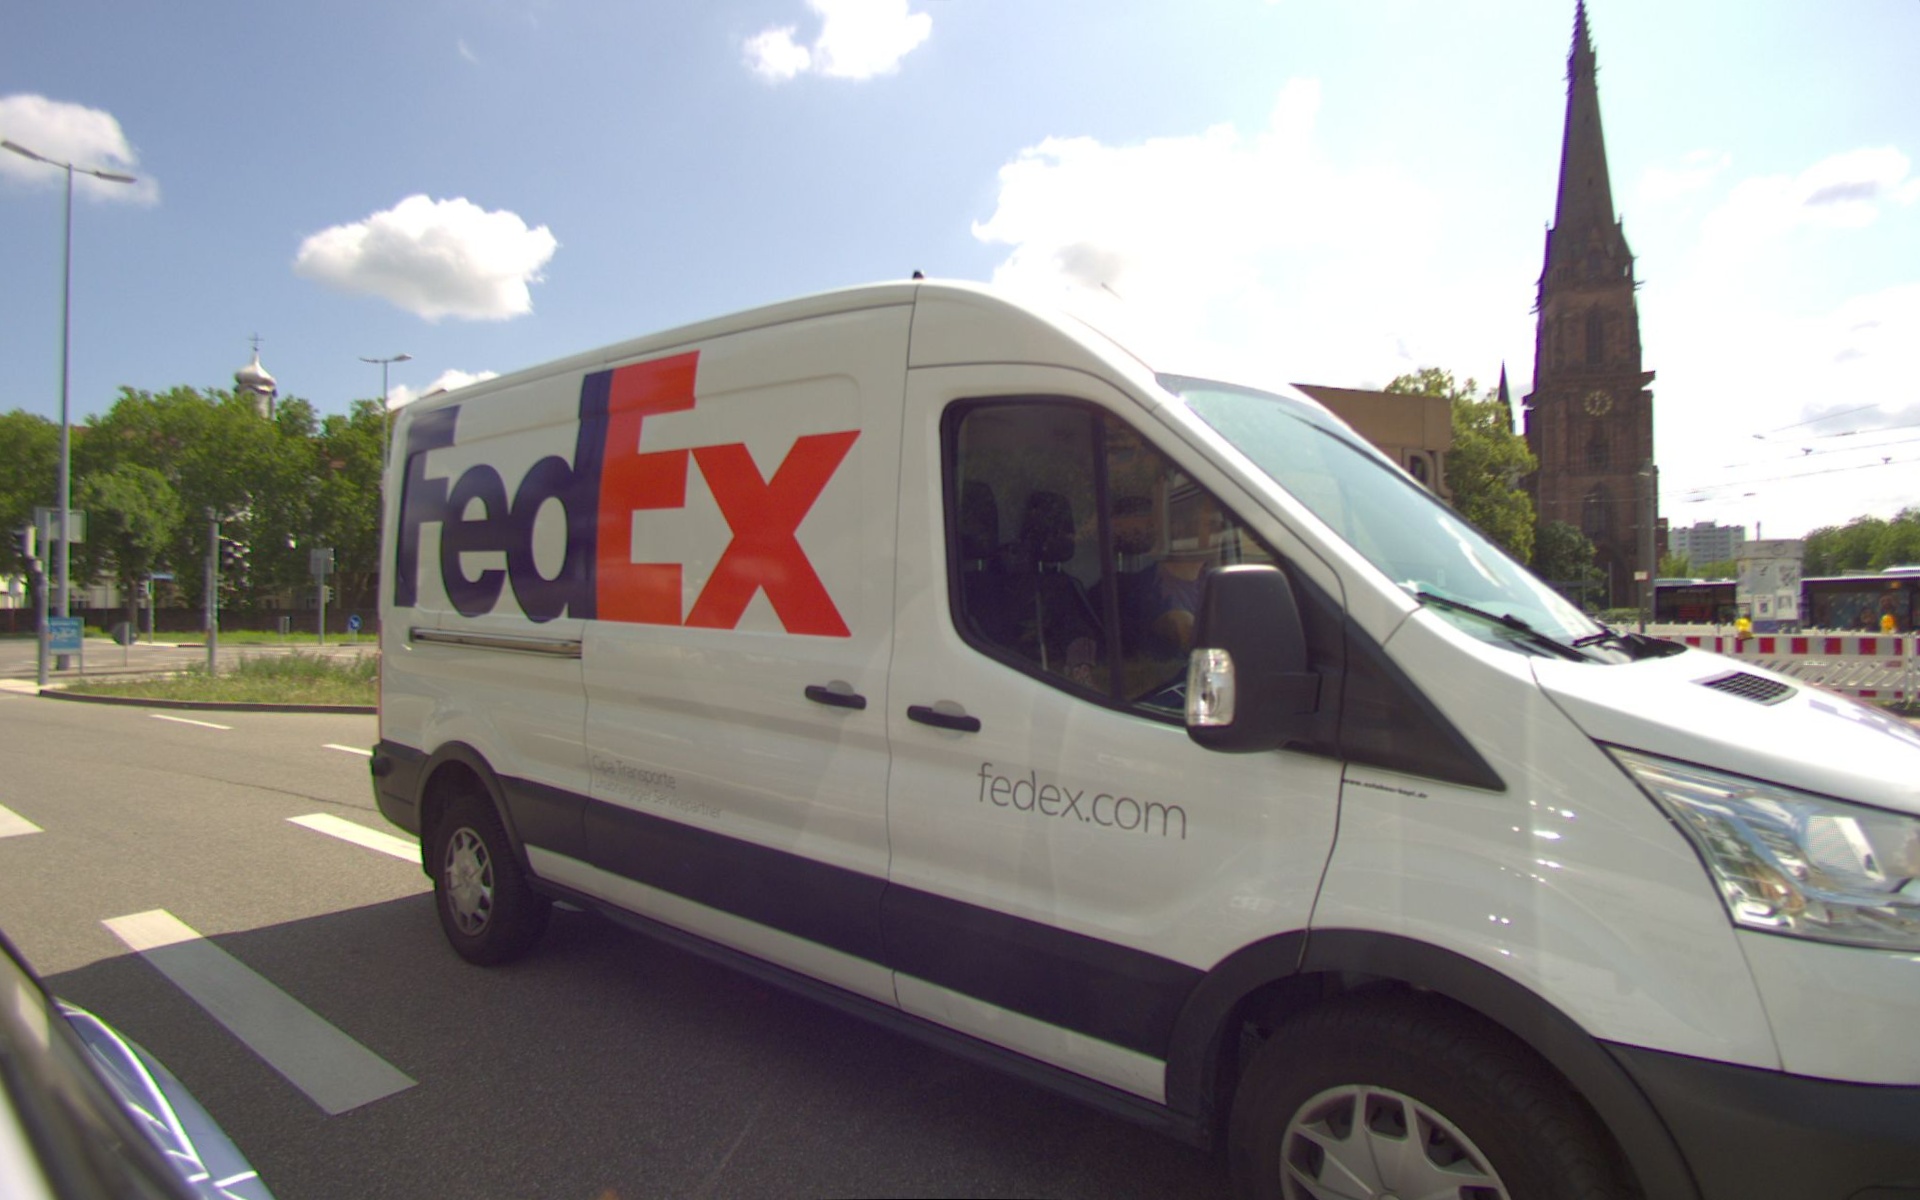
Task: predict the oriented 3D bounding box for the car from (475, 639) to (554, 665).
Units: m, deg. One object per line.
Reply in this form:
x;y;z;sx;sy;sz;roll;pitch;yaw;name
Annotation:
-27.459;3.192;62.503;1.984;1.497;4.483;-1;-2;18;car

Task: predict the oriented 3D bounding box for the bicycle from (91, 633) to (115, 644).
-65.363;2.928;77.178;1.443;0.795;0.398;0;-2;-7;bicycle

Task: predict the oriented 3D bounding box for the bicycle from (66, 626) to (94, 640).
-66.913;2.483;76.948;1.661;1.038;0.398;0;-2;-7;bicycle

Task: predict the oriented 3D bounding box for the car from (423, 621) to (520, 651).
-25.019;1.847;52.013;1.981;1.497;4.646;-1;-2;14;car

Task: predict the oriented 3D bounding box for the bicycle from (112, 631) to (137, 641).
-63.864;2.768;77.366;1.520;0.795;0.398;0;-2;-7;bicycle

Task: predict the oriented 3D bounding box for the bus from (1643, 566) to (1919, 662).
29.150;0.416;33.037;2.550;2.881;12.306;0;0;-19;bus

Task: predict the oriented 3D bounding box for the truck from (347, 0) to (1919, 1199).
0.081;0.136;3.658;5.911;2.660;2.116;-1;-1;40;truck

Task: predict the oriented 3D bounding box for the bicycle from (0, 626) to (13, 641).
-72.760;2.540;76.440;2.008;1.146;0.398;0;-2;-5;bicycle
